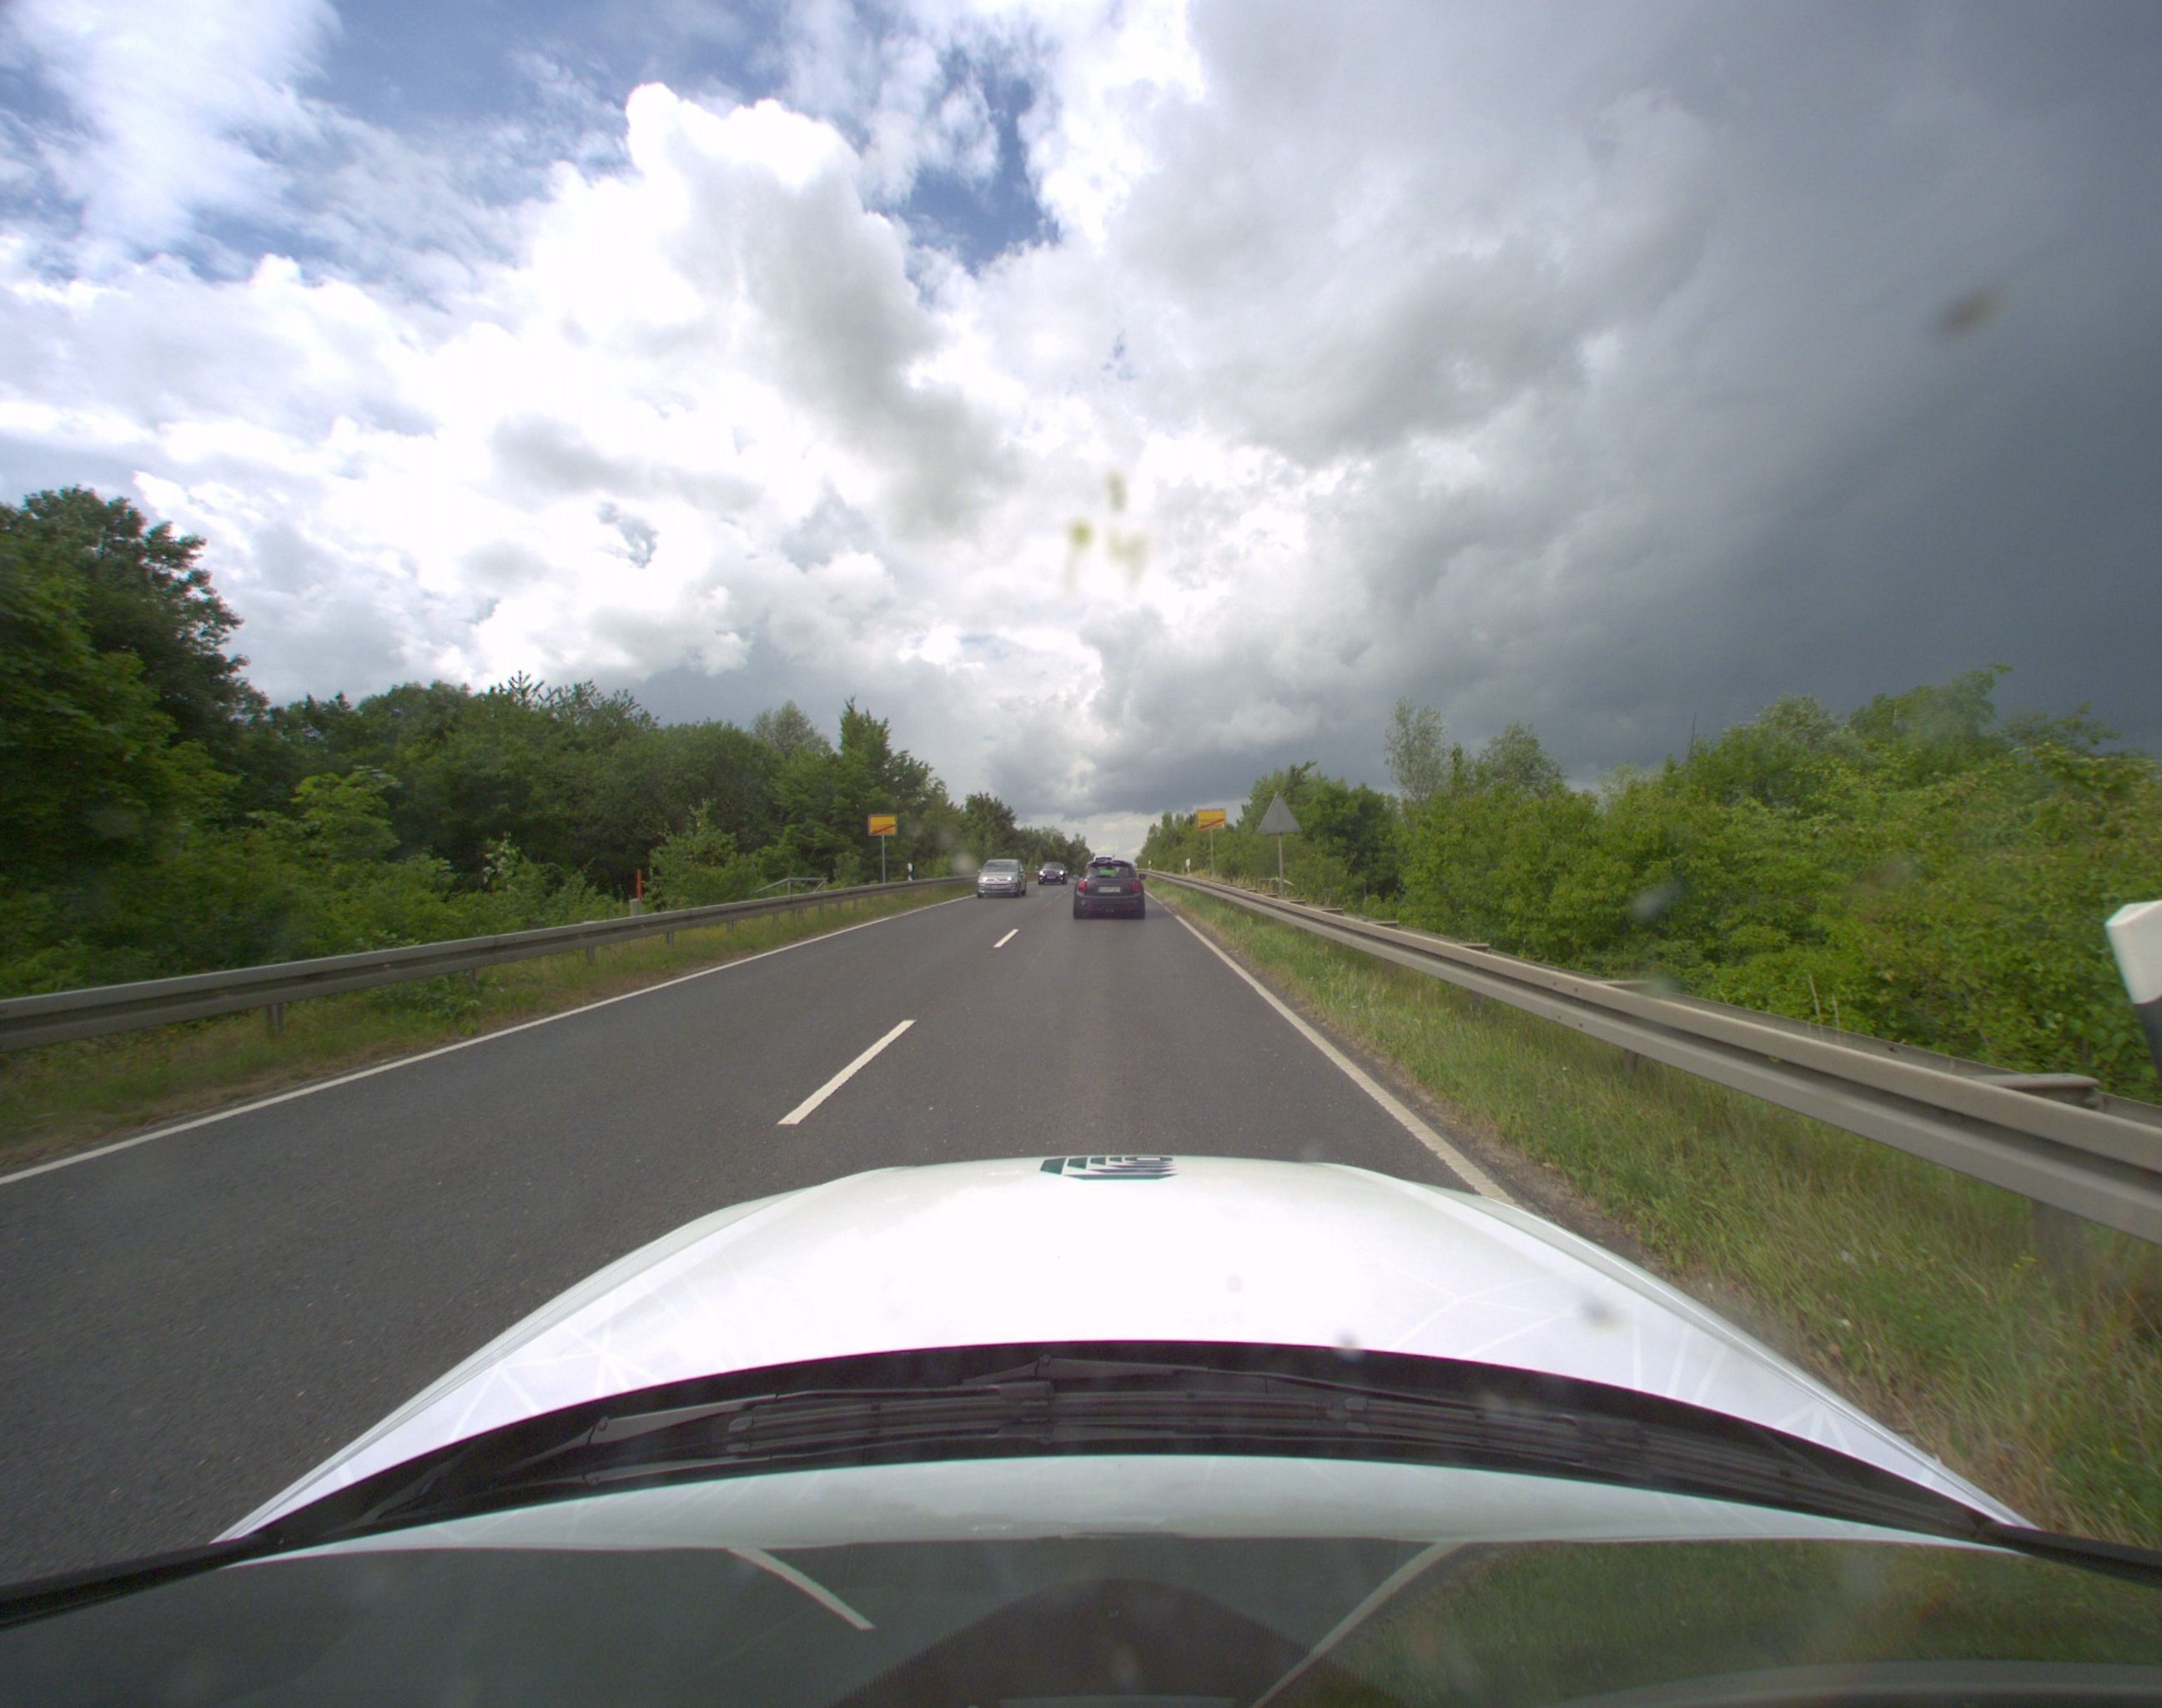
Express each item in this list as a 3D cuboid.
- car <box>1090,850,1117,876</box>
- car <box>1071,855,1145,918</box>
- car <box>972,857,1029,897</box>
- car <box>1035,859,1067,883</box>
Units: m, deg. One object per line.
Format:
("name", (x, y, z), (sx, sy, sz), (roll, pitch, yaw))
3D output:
("car", (1.818, 0.755, 65.804), (2.014, 2.013, 4.003), (-2, -1, 3))
("car", (0.745, 0.775, 21.104), (1.725, 1.456, 4.003), (-1, 0, 3))
("car", (-3.144, 0.874, 32.490), (1.829, 1.445, 3.999), (-1, 0, 0))
("car", (-1.862, 1.059, 52.026), (1.829, 1.420, 4.000), (-1, 0, 0))
